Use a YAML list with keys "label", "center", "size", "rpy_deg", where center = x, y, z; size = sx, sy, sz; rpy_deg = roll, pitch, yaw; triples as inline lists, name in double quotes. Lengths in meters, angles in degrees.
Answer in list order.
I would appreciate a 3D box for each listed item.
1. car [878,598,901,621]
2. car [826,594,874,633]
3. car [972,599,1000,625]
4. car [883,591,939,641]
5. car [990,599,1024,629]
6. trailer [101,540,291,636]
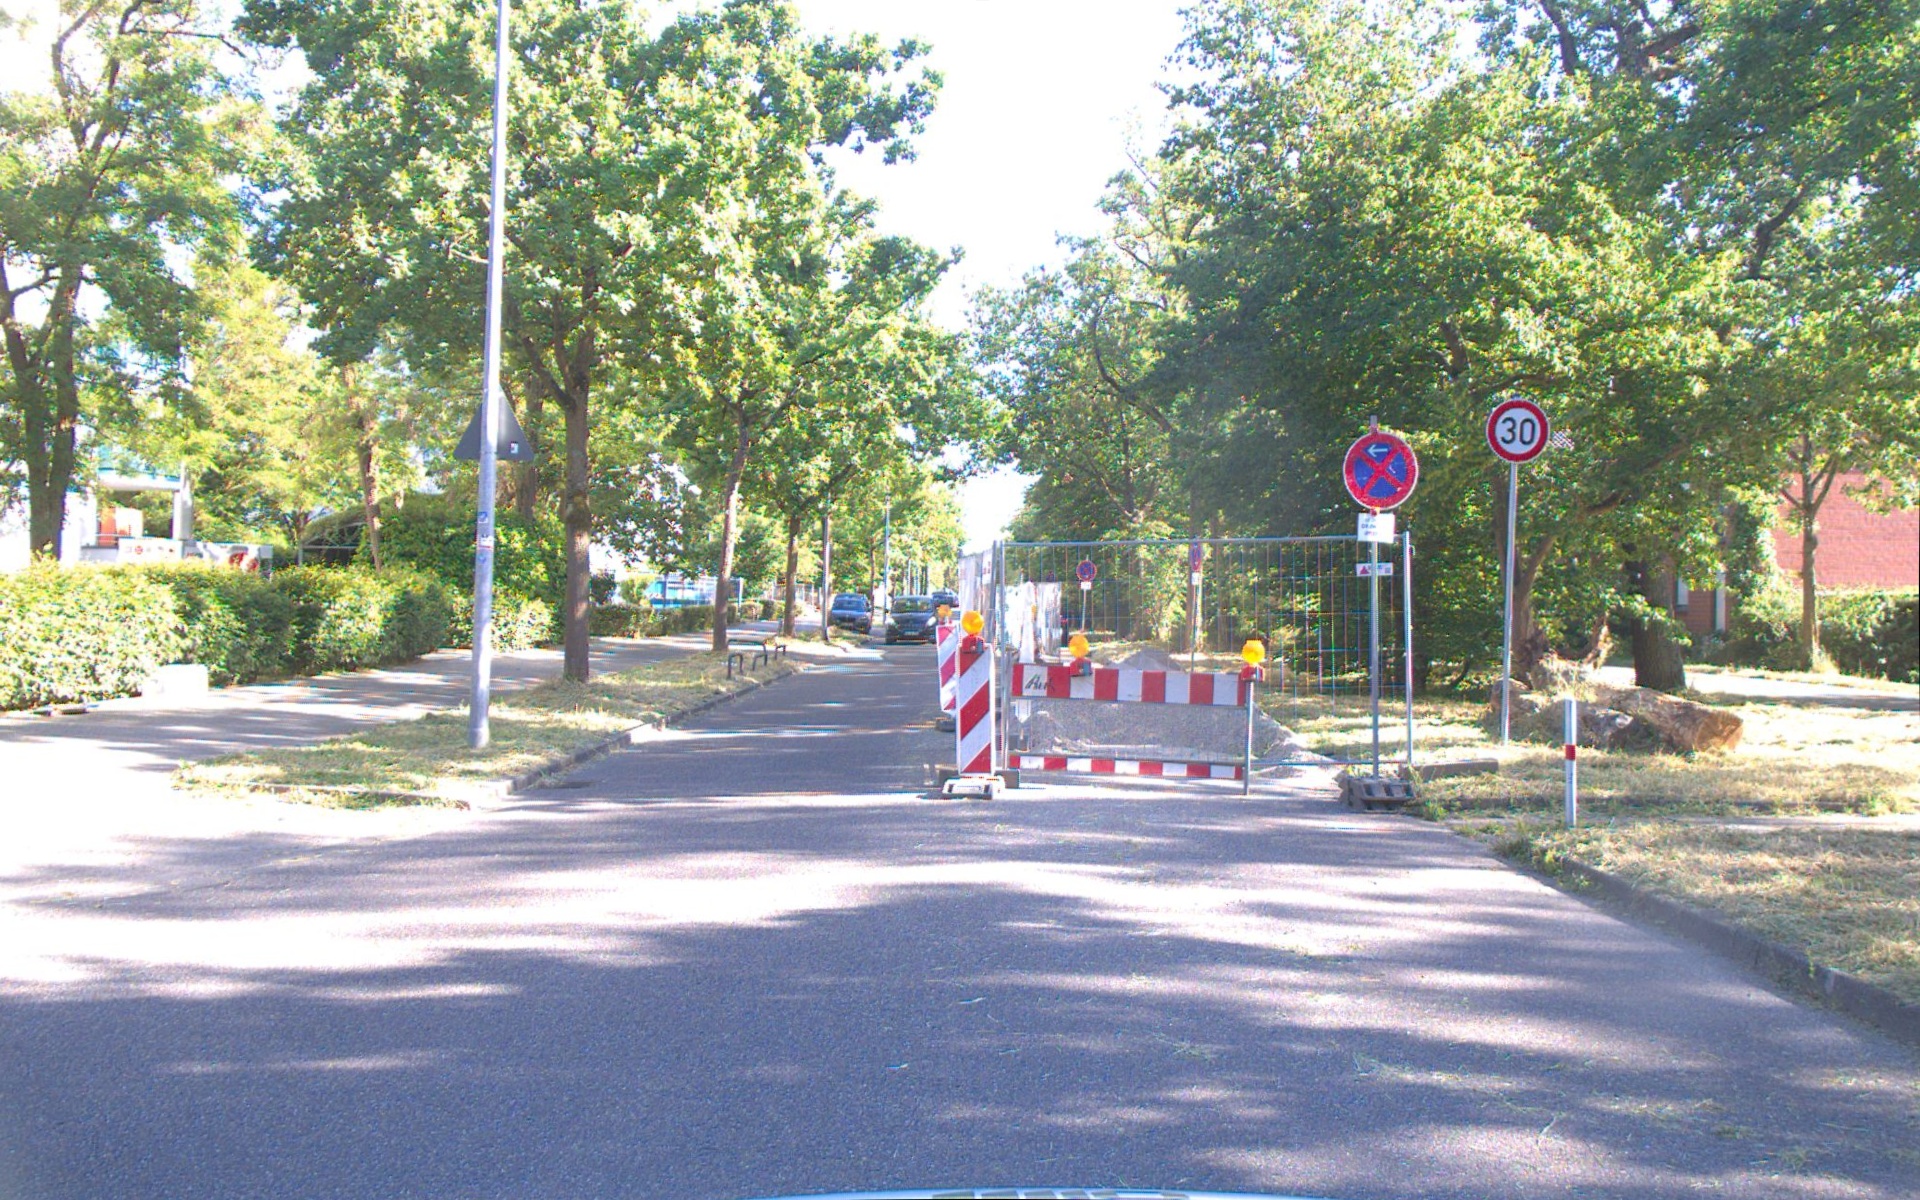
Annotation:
- label: "car"
  center: [-4.373, 0.595, 103.162]
  size: [1.334, 1.325, 3.480]
  rpy_deg: [2, -1, -2]
- label: "car"
  center: [-4.481, 0.536, 67.843]
  size: [1.715, 1.504, 3.836]
  rpy_deg: [1, 0, -1]
- label: "car"
  center: [1.412, 0.662, 90.600]
  size: [1.334, 1.325, 3.480]
  rpy_deg: [2, -1, -2]
- label: "car"
  center: [-1.692, 0.542, 57.897]
  size: [1.784, 1.653, 4.492]
  rpy_deg: [-1, 0, 0]
- label: "car"
  center: [2.181, 0.670, 77.631]
  size: [1.334, 1.325, 3.480]
  rpy_deg: [2, -1, -2]
- label: "trailer"
  center: [-17.717, -0.270, 38.604]
  size: [1.934, 2.078, 4.433]
  rpy_deg: [1, 0, 7]
